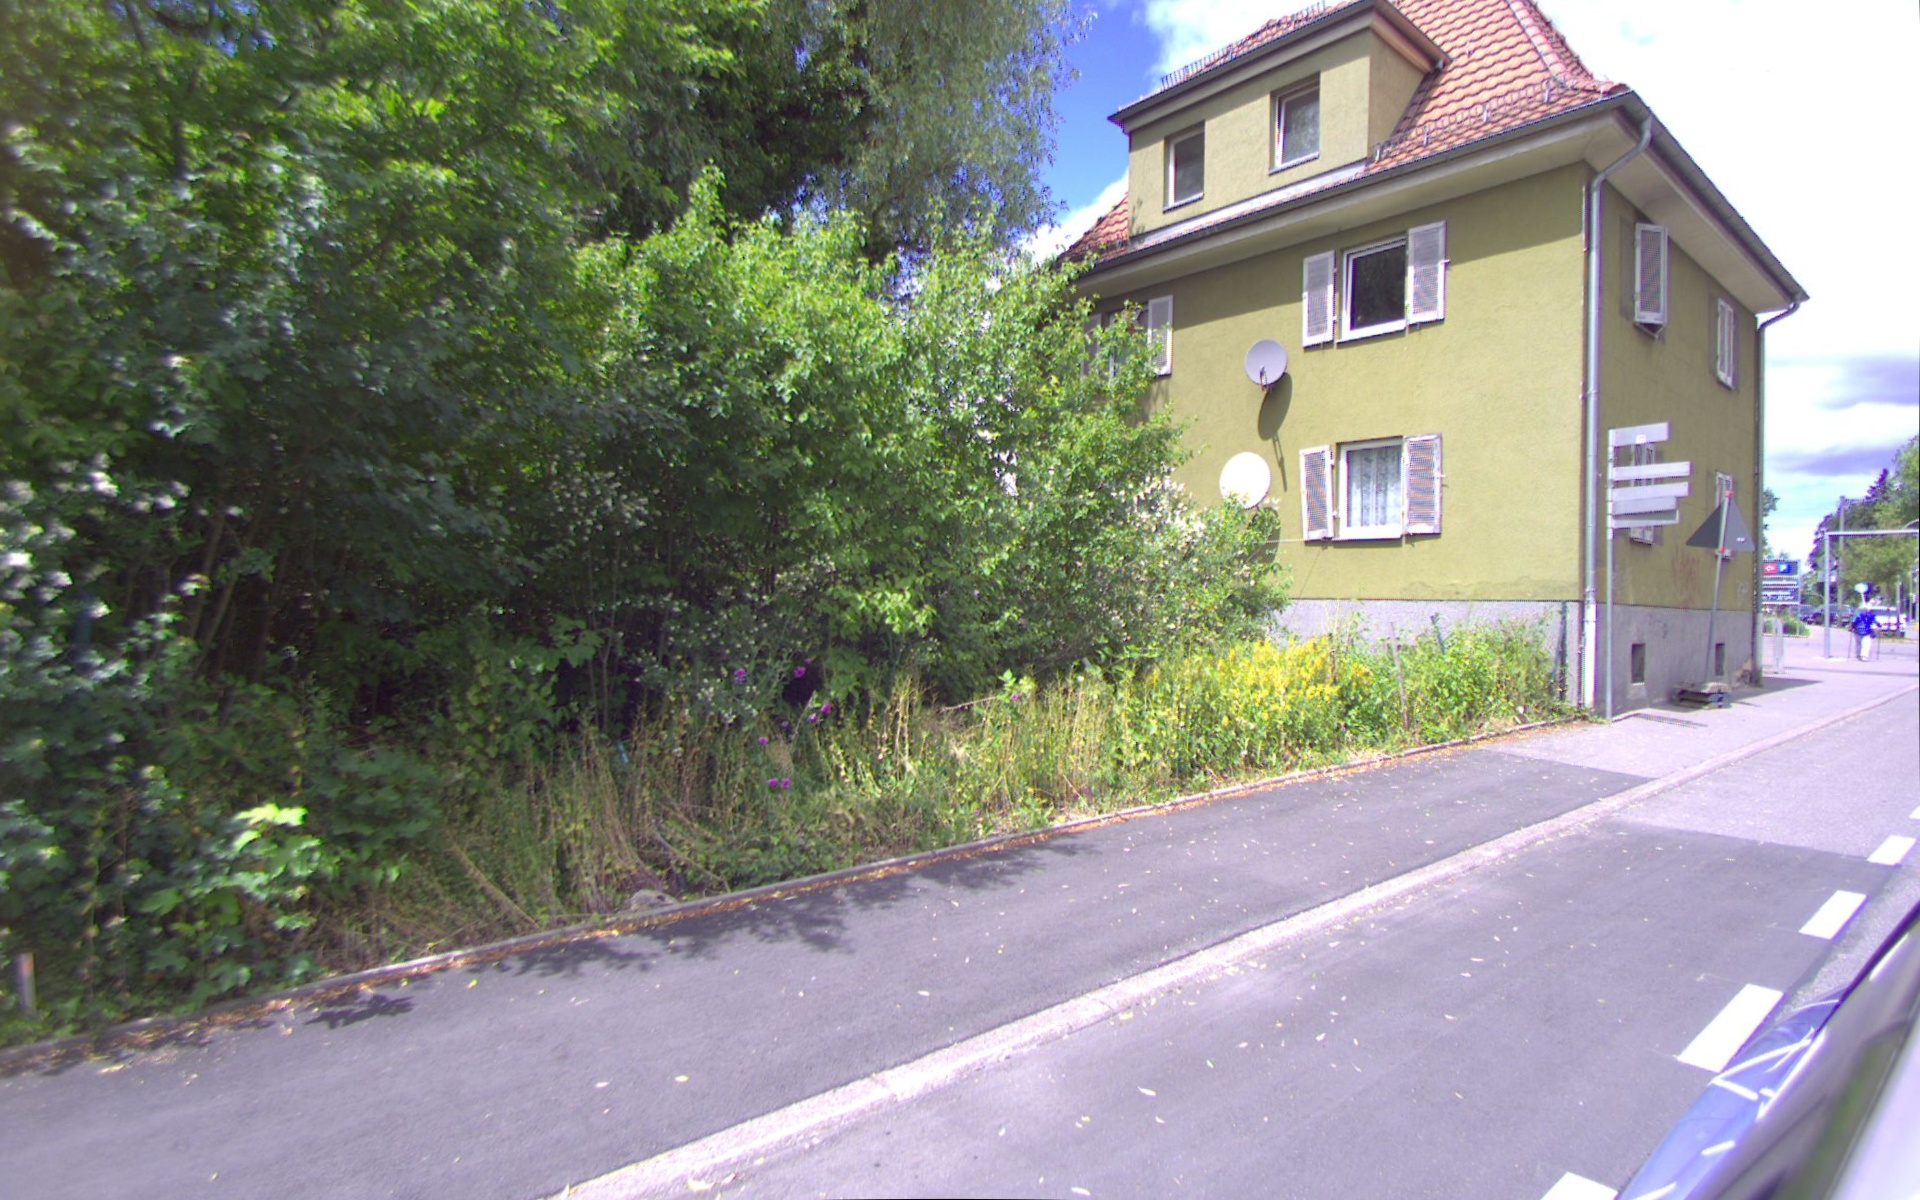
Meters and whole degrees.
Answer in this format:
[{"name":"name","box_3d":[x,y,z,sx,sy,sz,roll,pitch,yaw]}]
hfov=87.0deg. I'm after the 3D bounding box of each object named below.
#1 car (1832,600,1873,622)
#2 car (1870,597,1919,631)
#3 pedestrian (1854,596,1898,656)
[{"name":"car","box_3d":[64.956,0.783,73.679,1.694,1.551,3.951,-1,-1,34]},{"name":"car","box_3d":[47.490,0.671,51.337,1.788,1.549,3.864,4,2,40]},{"name":"pedestrian","box_3d":[25.150,0.705,27.779,0.824,1.592,0.972,2,1,45]}]
